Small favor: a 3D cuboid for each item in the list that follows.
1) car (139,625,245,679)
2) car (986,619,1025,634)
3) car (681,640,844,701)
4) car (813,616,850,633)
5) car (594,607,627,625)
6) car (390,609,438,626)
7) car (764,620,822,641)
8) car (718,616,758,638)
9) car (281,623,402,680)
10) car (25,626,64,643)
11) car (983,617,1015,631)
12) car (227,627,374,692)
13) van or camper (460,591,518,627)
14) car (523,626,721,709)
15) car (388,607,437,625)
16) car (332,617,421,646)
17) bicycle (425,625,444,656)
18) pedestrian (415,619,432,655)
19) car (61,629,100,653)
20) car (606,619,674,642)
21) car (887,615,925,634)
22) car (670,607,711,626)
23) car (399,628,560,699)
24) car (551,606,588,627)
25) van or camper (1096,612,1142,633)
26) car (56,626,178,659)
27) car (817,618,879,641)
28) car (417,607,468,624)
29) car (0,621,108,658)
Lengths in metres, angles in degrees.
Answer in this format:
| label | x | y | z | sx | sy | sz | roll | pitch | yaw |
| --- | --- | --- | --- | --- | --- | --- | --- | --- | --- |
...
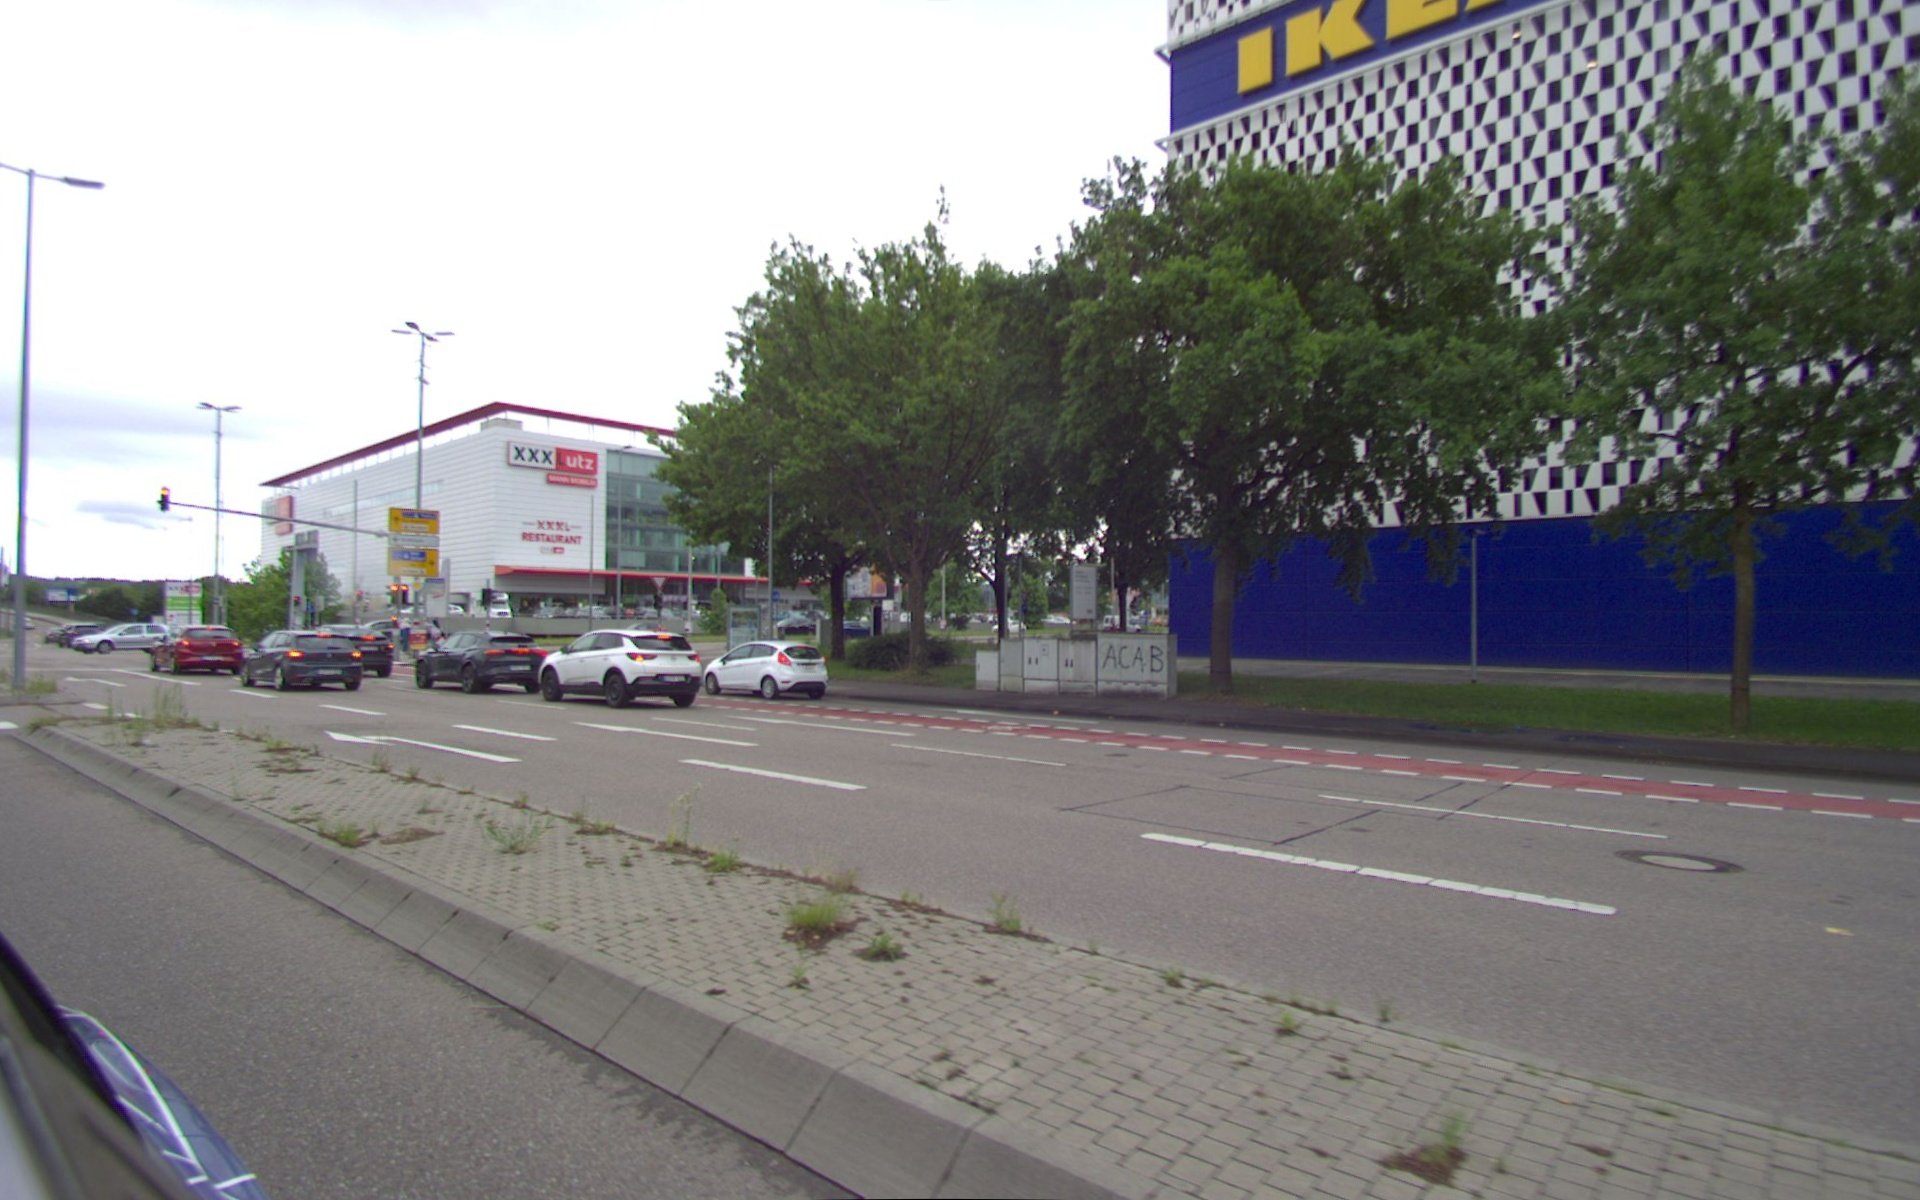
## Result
| label | x | y | z | sx | sy | sz | roll | pitch | yaw |
| --- | --- | --- | --- | --- | --- | --- | --- | --- | --- |
| car | -23.676 | 1.565 | 31.151 | 4.076 | 1.499 | 1.717 | 0 | -2 | 41 |
| car | 4.823 | 2.763 | 106.535 | 1.803 | 1.426 | 4.158 | -4 | -3 | 44 |
| car | -5.204 | 1.802 | 26.436 | 4.327 | 1.473 | 1.838 | -2 | -4 | 39 |
| car | -15.227 | 2.894 | 120.003 | 1.890 | 1.807 | 3.944 | -4 | -2 | 42 |
| car | -40.573 | 1.869 | 117.512 | 3.999 | 2.029 | 1.972 | -4 | -3 | 42 |
| car | -58.756 | 1.869 | 108.860 | 1.777 | 1.688 | 4.198 | -4 | -3 | 44 |
| car | -12.892 | 2.335 | 78.156 | 1.803 | 1.426 | 4.158 | -4 | -3 | 44 |
| car | -22.488 | 2.728 | 102.384 | 3.999 | 2.029 | 1.972 | -4 | -3 | 42 |
| car | -19.560 | 1.605 | 31.934 | 4.329 | 1.649 | 1.861 | -1 | -4 | 39 |
| car | -80.749 | 3.092 | 89.273 | 4.872 | 1.422 | 1.794 | -3 | -4 | 39 |
| car | 5.015 | 3.114 | 130.348 | 4.001 | 1.577 | 1.770 | -4 | -3 | 45 |
| car | -16.191 | 1.434 | 24.769 | 4.329 | 1.473 | 1.838 | -2 | -4 | 41 |
| van or camper | -45.483 | 0.906 | 97.554 | 7.239 | 3.159 | 2.675 | -4 | -3 | 45 |
| car | -7.400 | 1.447 | 21.956 | 4.574 | 1.607 | 1.973 | -2 | -6 | 41 |
| car | -57.371 | 1.662 | 106.041 | 1.777 | 1.688 | 4.198 | -4 | -3 | 44 |
| car | -33.831 | 1.821 | 58.748 | 1.803 | 1.586 | 4.158 | -4 | -3 | 44 |
| bicycle | -24.411 | 1.862 | 47.041 | 0.587 | 1.407 | 1.940 | 2 | -1 | -22 |
| pedestrian | -24.827 | 1.720 | 46.827 | 0.630 | 1.639 | 0.694 | 1 | -1 | -23 |
| car | -60.788 | 2.821 | 69.902 | 3.927 | 1.540 | 1.671 | -4 | -3 | 43 |
| car | -22.234 | 2.096 | 70.369 | 1.803 | 1.426 | 4.158 | -4 | -3 | 44 |
| car | -6.374 | 2.909 | 118.804 | 4.326 | 2.029 | 1.972 | -4 | -3 | 42 |
| car | -29.900 | 1.820 | 112.401 | 1.999 | 2.029 | 3.944 | -4 | -2 | 42 |
| car | -12.219 | 1.545 | 25.622 | 4.594 | 1.556 | 1.861 | 0 | -3 | 39 |
| car | -39.581 | 1.662 | 102.597 | 3.866 | 1.962 | 1.844 | -4 | -3 | 41 |
| van or camper | 14.543 | 2.062 | 92.426 | 2.000 | 1.735 | 4.331 | -4 | -3 | 44 |
| car | -40.714 | 2.043 | 48.981 | 1.795 | 1.426 | 4.178 | -3 | -2 | 28 |
| car | -7.737 | 2.060 | 70.102 | 1.702 | 1.498 | 4.059 | -1 | -2 | 44 |
| car | -52.255 | 1.565 | 102.222 | 1.777 | 1.688 | 4.198 | -4 | -3 | 44 |
| car | -37.020 | 1.584 | 40.532 | 1.751 | 1.389 | 4.241 | -2 | -2 | 13 |
